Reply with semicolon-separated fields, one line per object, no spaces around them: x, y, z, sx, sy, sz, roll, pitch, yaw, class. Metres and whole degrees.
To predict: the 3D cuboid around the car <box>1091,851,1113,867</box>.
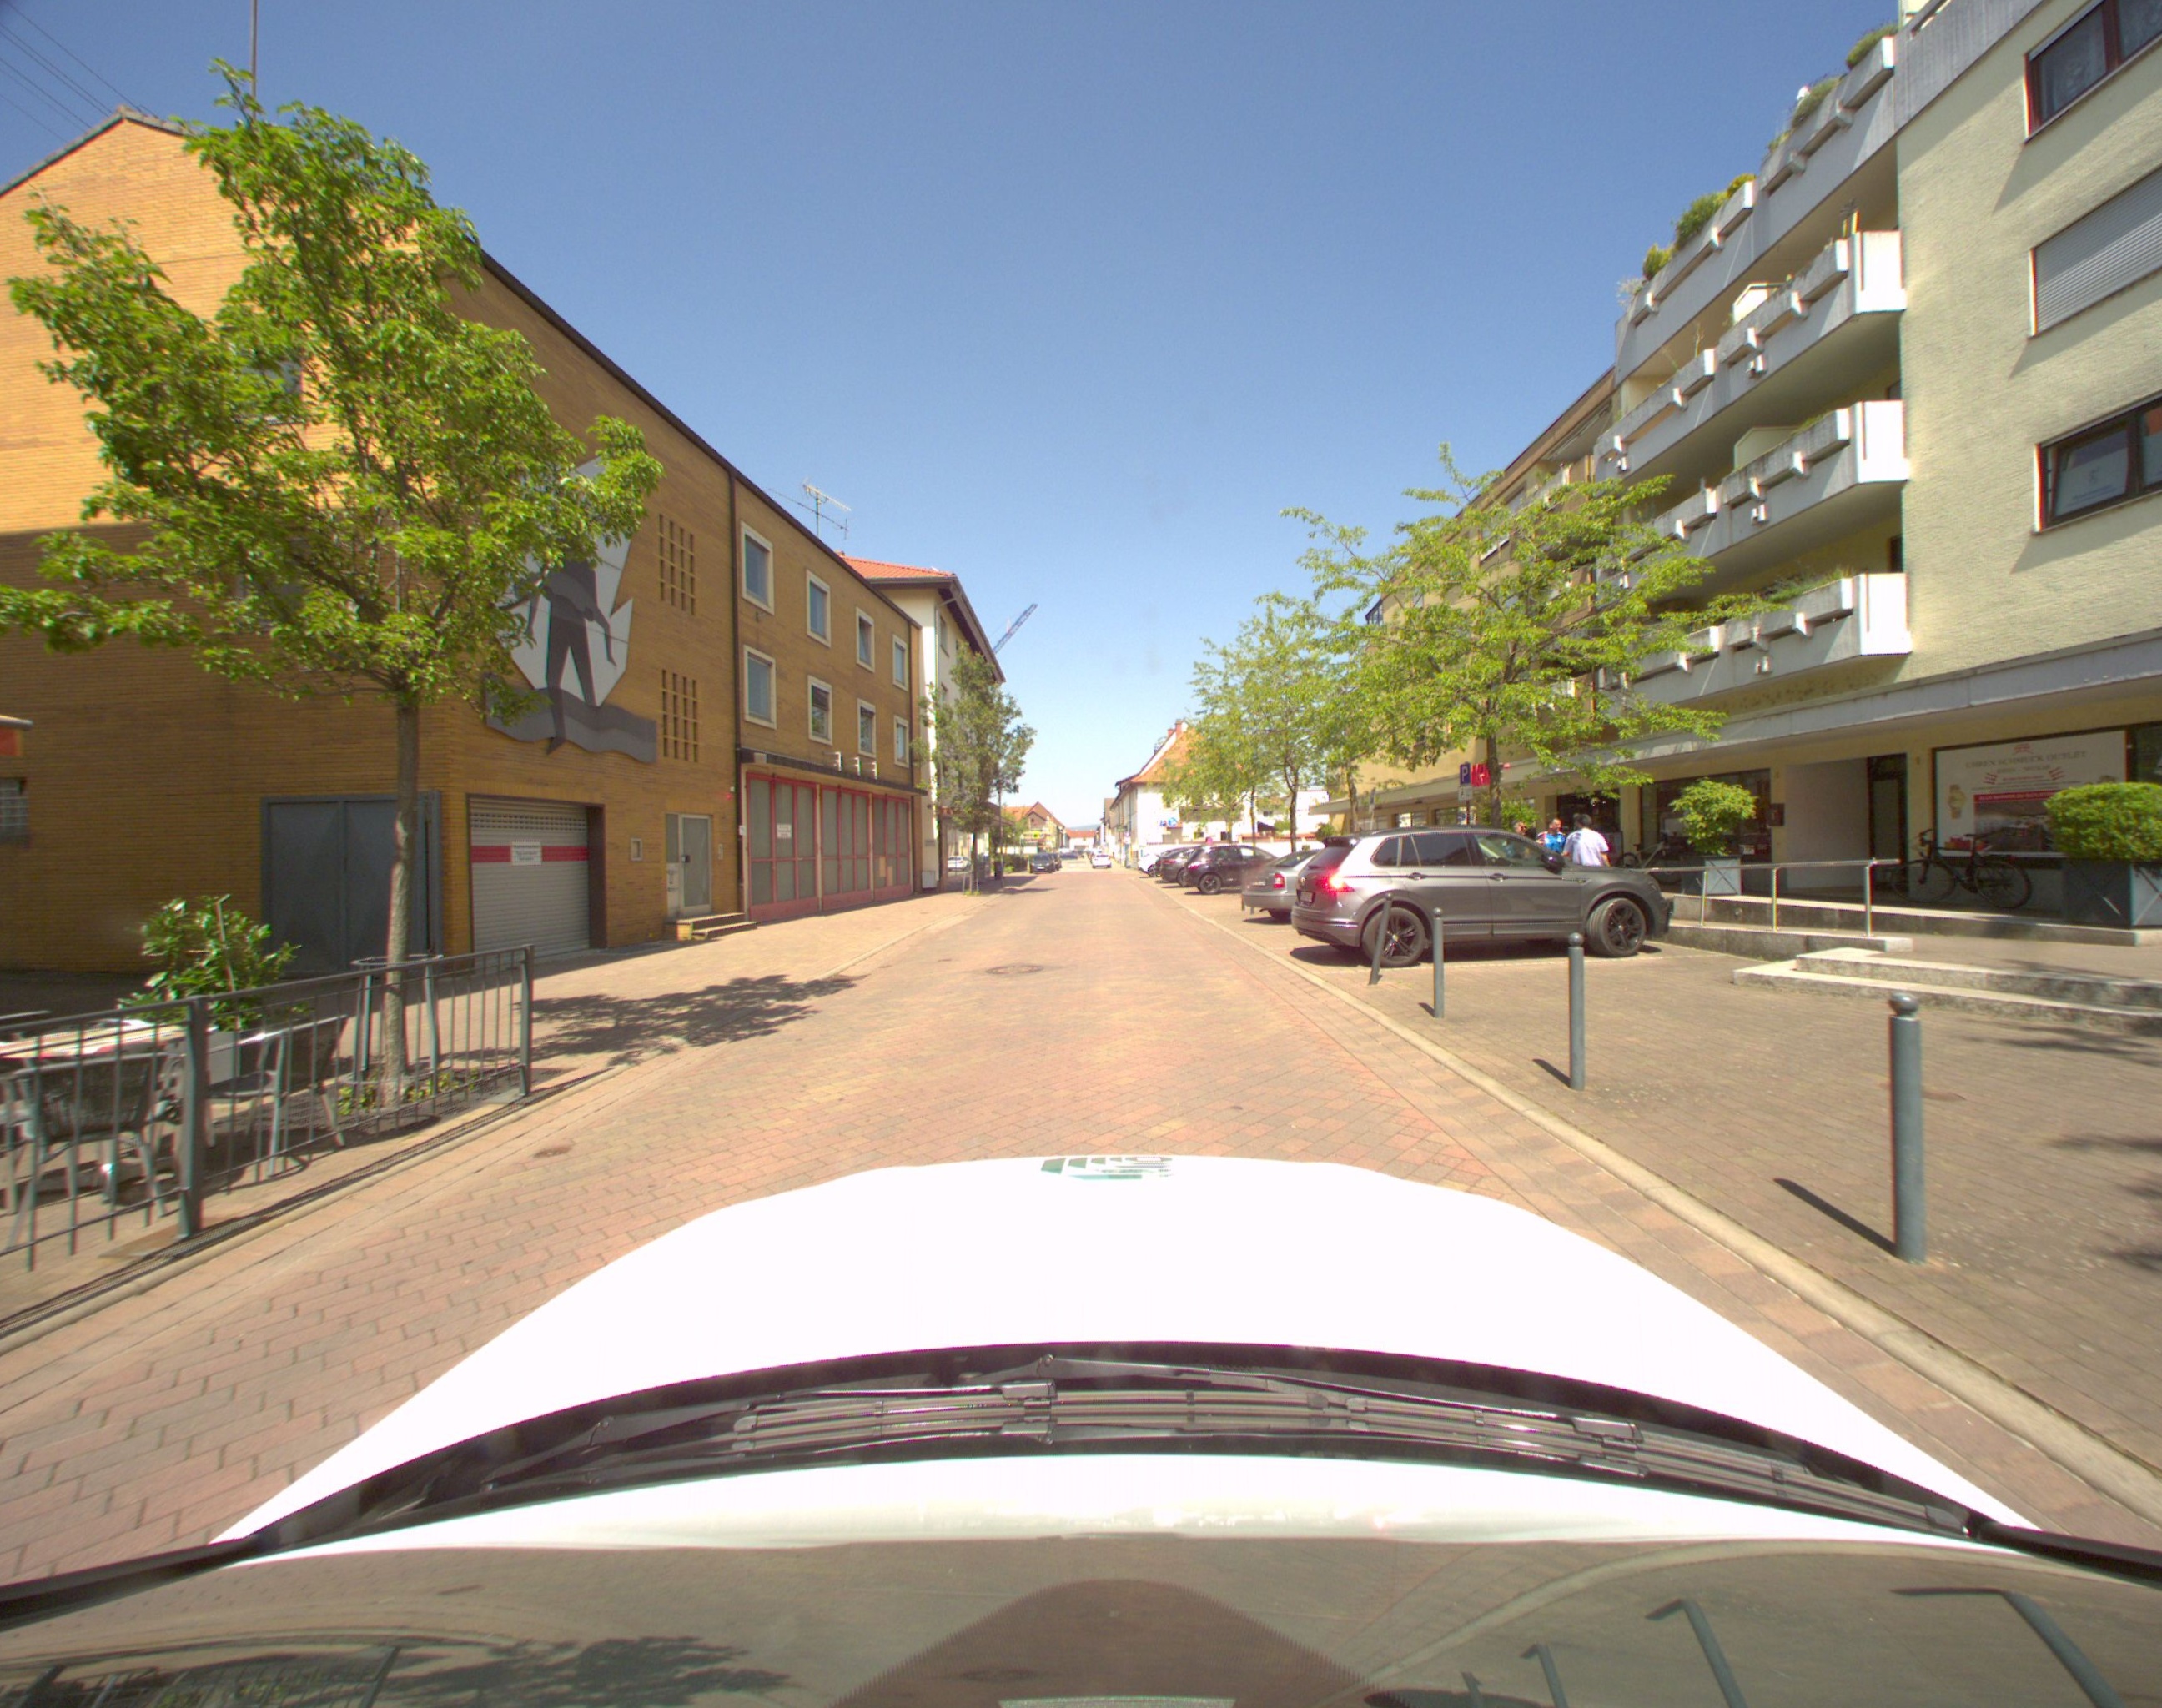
2.113;0.476;81.619;1.878;1.542;4.248;-1;0;5;car

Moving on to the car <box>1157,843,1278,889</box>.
5.315;0.456;32.200;4.489;1.588;1.852;-3;0;3;car

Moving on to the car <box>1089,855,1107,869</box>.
2.059;0.952;101.520;1.880;1.556;3.890;-5;1;-3;car

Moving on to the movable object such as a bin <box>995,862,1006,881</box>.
-4.670;1.024;47.342;0.654;1.070;0.662;0;0;-6;movable object such as a bin

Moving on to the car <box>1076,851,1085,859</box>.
-0.099;0.289;177.681;1.876;1.668;4.152;-1;0;-1;car

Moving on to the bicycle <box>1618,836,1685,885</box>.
12.951;0.153;18.515;0.360;1.067;1.307;0;-1;-15;bicycle

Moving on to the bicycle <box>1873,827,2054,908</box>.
12.793;0.186;11.901;0.639;1.081;1.866;0;-1;1;bicycle

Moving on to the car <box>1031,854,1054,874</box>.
-3.001;0.753;63.047;1.698;1.496;3.852;-1;0;-3;car

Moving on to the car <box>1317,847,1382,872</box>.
17.143;0.331;52.087;3.602;1.452;1.655;-2;1;1;car

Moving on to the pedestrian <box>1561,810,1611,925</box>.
7.858;0.201;12.667;0.608;1.731;0.652;-1;-1;35;pedestrian

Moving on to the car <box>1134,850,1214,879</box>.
5.417;0.600;47.596;4.429;1.576;1.787;-1;0;-3;car

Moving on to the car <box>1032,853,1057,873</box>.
-3.056;0.753;68.861;1.809;1.605;4.026;-1;0;1;car

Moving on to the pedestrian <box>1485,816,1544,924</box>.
7.378;0.259;13.868;0.628;1.796;0.602;-1;0;-20;pedestrian

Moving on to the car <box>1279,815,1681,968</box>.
4.857;0.427;10.335;4.231;1.618;1.756;-2;0;-1;car

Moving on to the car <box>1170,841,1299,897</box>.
5.076;0.469;27.285;4.011;1.612;1.682;-3;1;2;car

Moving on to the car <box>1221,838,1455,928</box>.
5.310;0.531;16.823;4.392;1.463;1.876;-4;0;-23;car

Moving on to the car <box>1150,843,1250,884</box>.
5.424;0.430;37.530;4.267;1.681;1.999;-2;0;-2;car

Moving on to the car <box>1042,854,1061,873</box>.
-2.688;0.808;74.536;1.632;1.628;3.767;-1;0;-1;car

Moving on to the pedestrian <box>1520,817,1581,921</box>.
8.258;0.255;14.333;0.629;1.773;0.685;-1;0;-6;pedestrian
